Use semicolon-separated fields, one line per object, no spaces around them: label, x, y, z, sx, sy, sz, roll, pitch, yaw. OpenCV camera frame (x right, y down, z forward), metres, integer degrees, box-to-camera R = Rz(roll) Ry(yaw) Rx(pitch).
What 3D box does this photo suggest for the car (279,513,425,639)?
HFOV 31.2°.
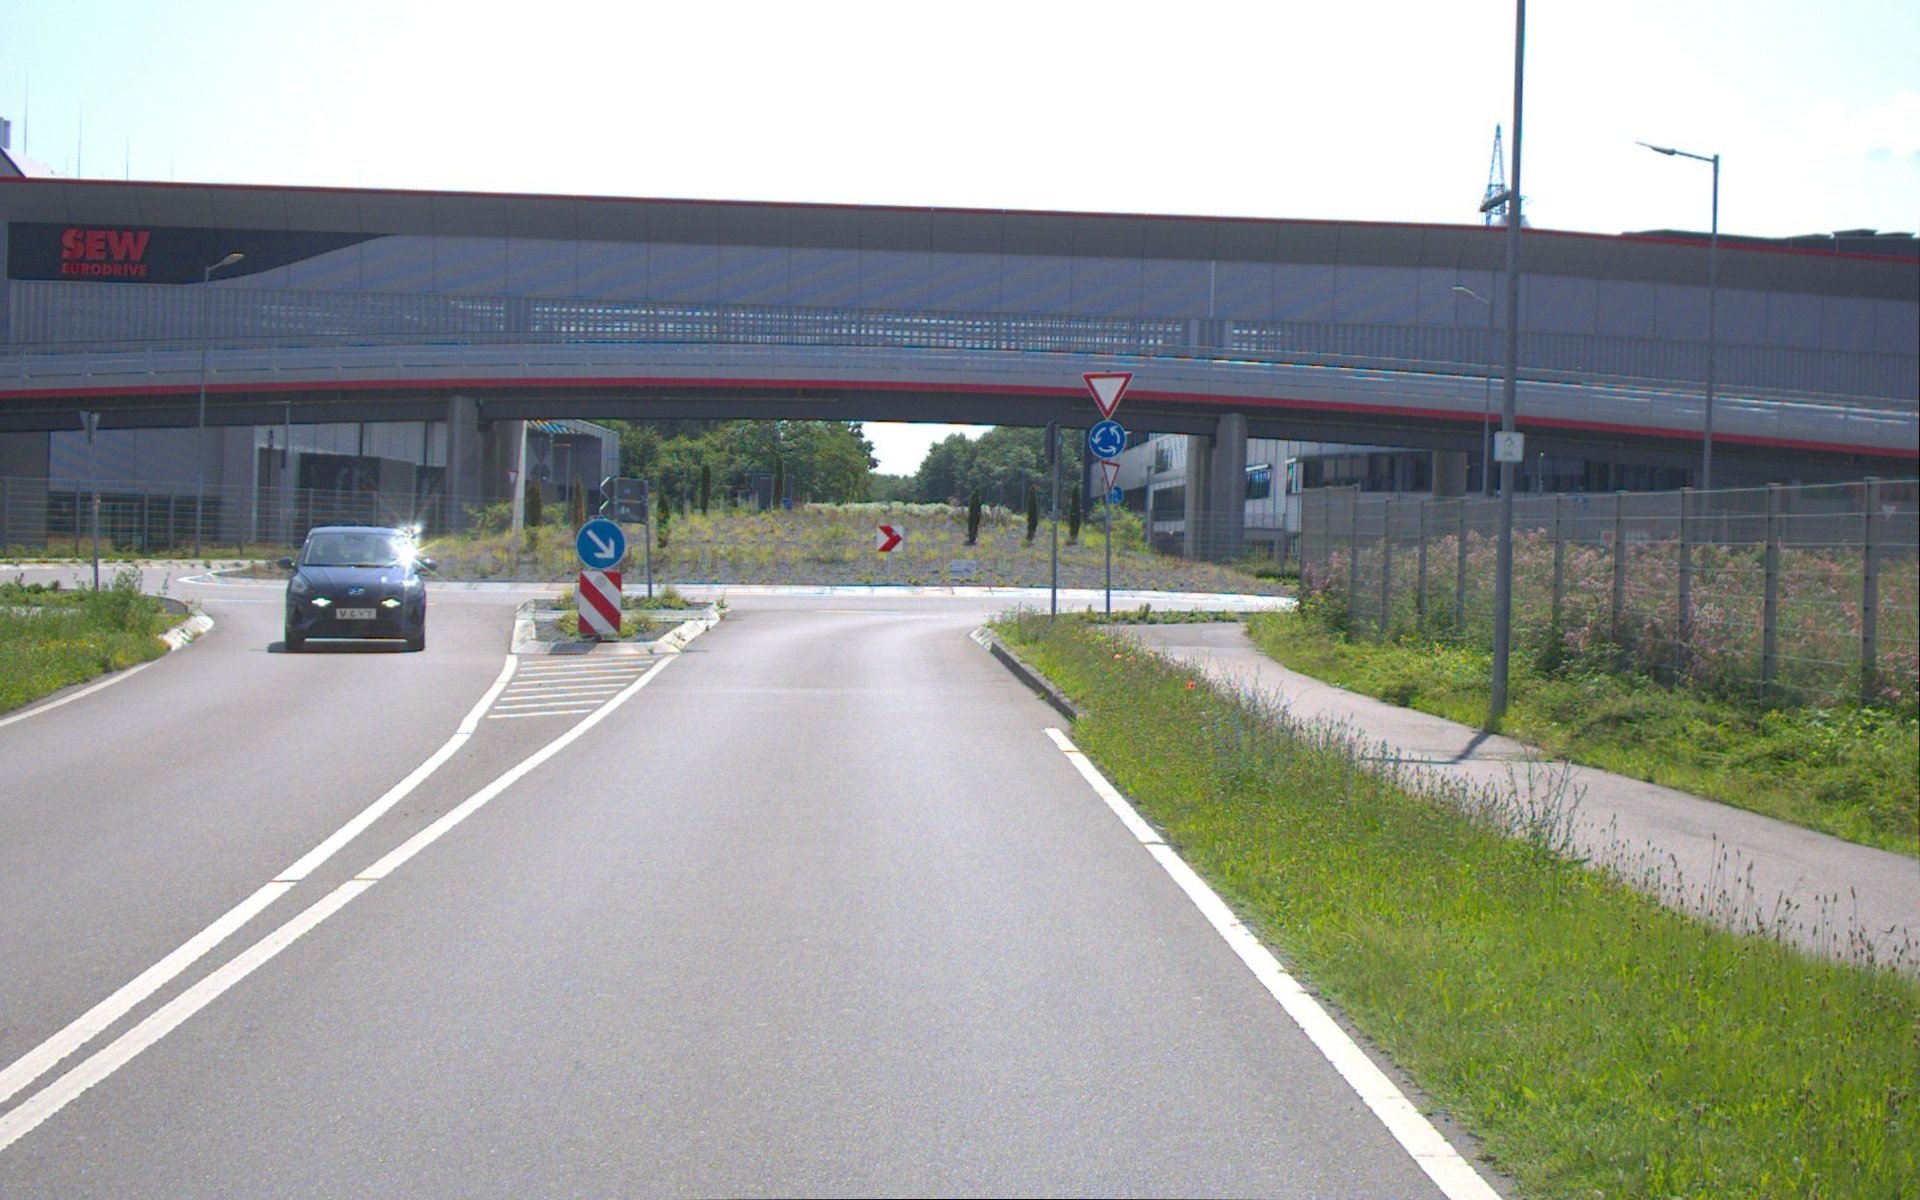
car;-7.542;-0.315;42.841;1.702;1.477;4.001;1;1;-9
